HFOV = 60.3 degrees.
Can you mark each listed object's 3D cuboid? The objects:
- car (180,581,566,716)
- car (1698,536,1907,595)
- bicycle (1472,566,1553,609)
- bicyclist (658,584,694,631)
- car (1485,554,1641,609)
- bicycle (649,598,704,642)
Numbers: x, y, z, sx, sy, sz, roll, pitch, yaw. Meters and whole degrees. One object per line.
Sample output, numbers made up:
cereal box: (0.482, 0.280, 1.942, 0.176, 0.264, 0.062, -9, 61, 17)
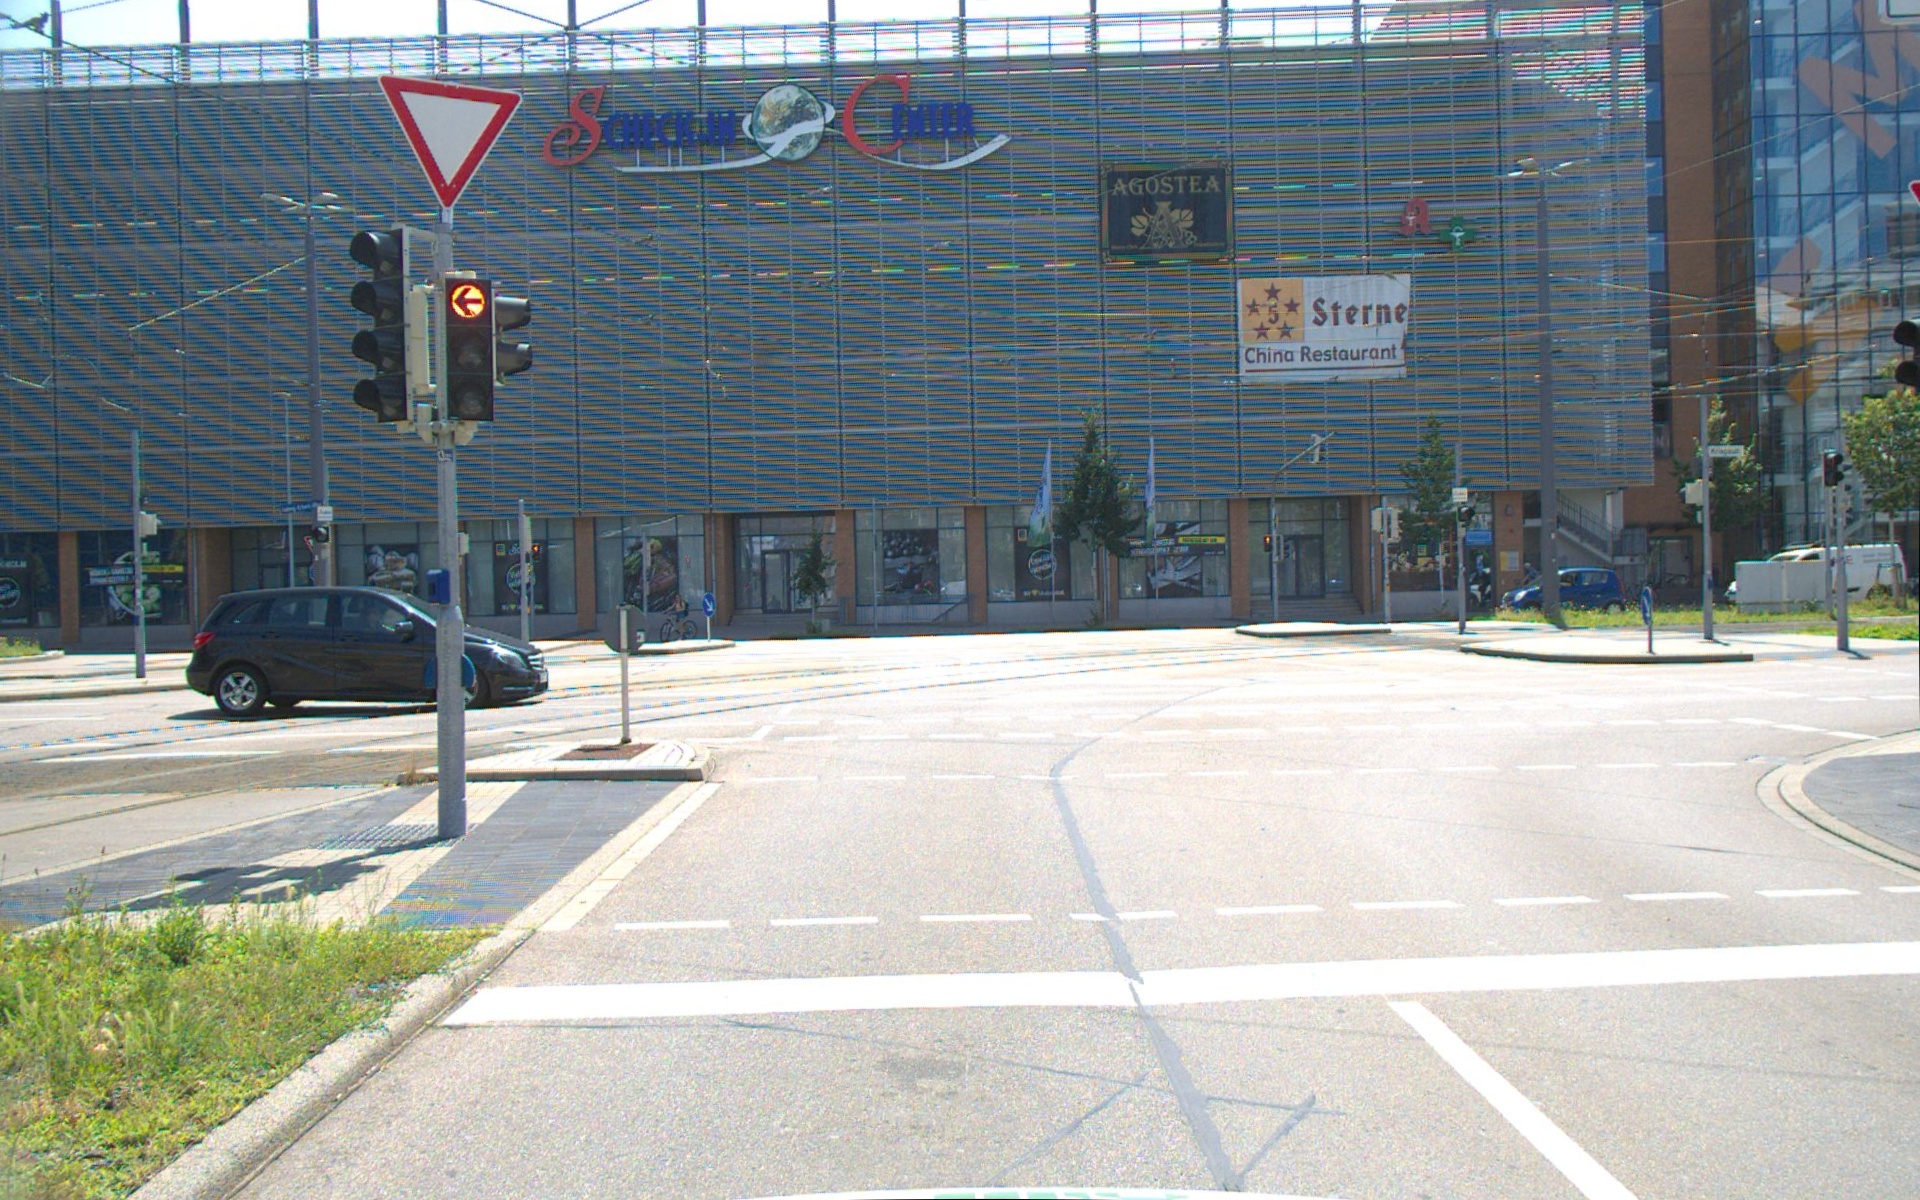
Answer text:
car: (-7.371, 0.576, 21.141, 4.234, 1.580, 1.999, -1, 1, -4)
car: (25.216, -1.032, 49.599, 5.356, 1.697, 1.998, -1, 1, -5)
bicycle: (20.730, -0.471, 62.093, 2.790, 1.584, 0.705, 0, 1, 3)
bicyclist: (-9.801, 0.256, 57.123, 1.017, 1.599, 0.778, 0, 1, 7)
car: (17.746, -0.562, 48.797, 3.906, 1.565, 1.881, -1, 1, -2)
bicycle: (-9.786, 0.672, 57.220, 1.039, 1.414, 3.026, 0, 1, 7)
